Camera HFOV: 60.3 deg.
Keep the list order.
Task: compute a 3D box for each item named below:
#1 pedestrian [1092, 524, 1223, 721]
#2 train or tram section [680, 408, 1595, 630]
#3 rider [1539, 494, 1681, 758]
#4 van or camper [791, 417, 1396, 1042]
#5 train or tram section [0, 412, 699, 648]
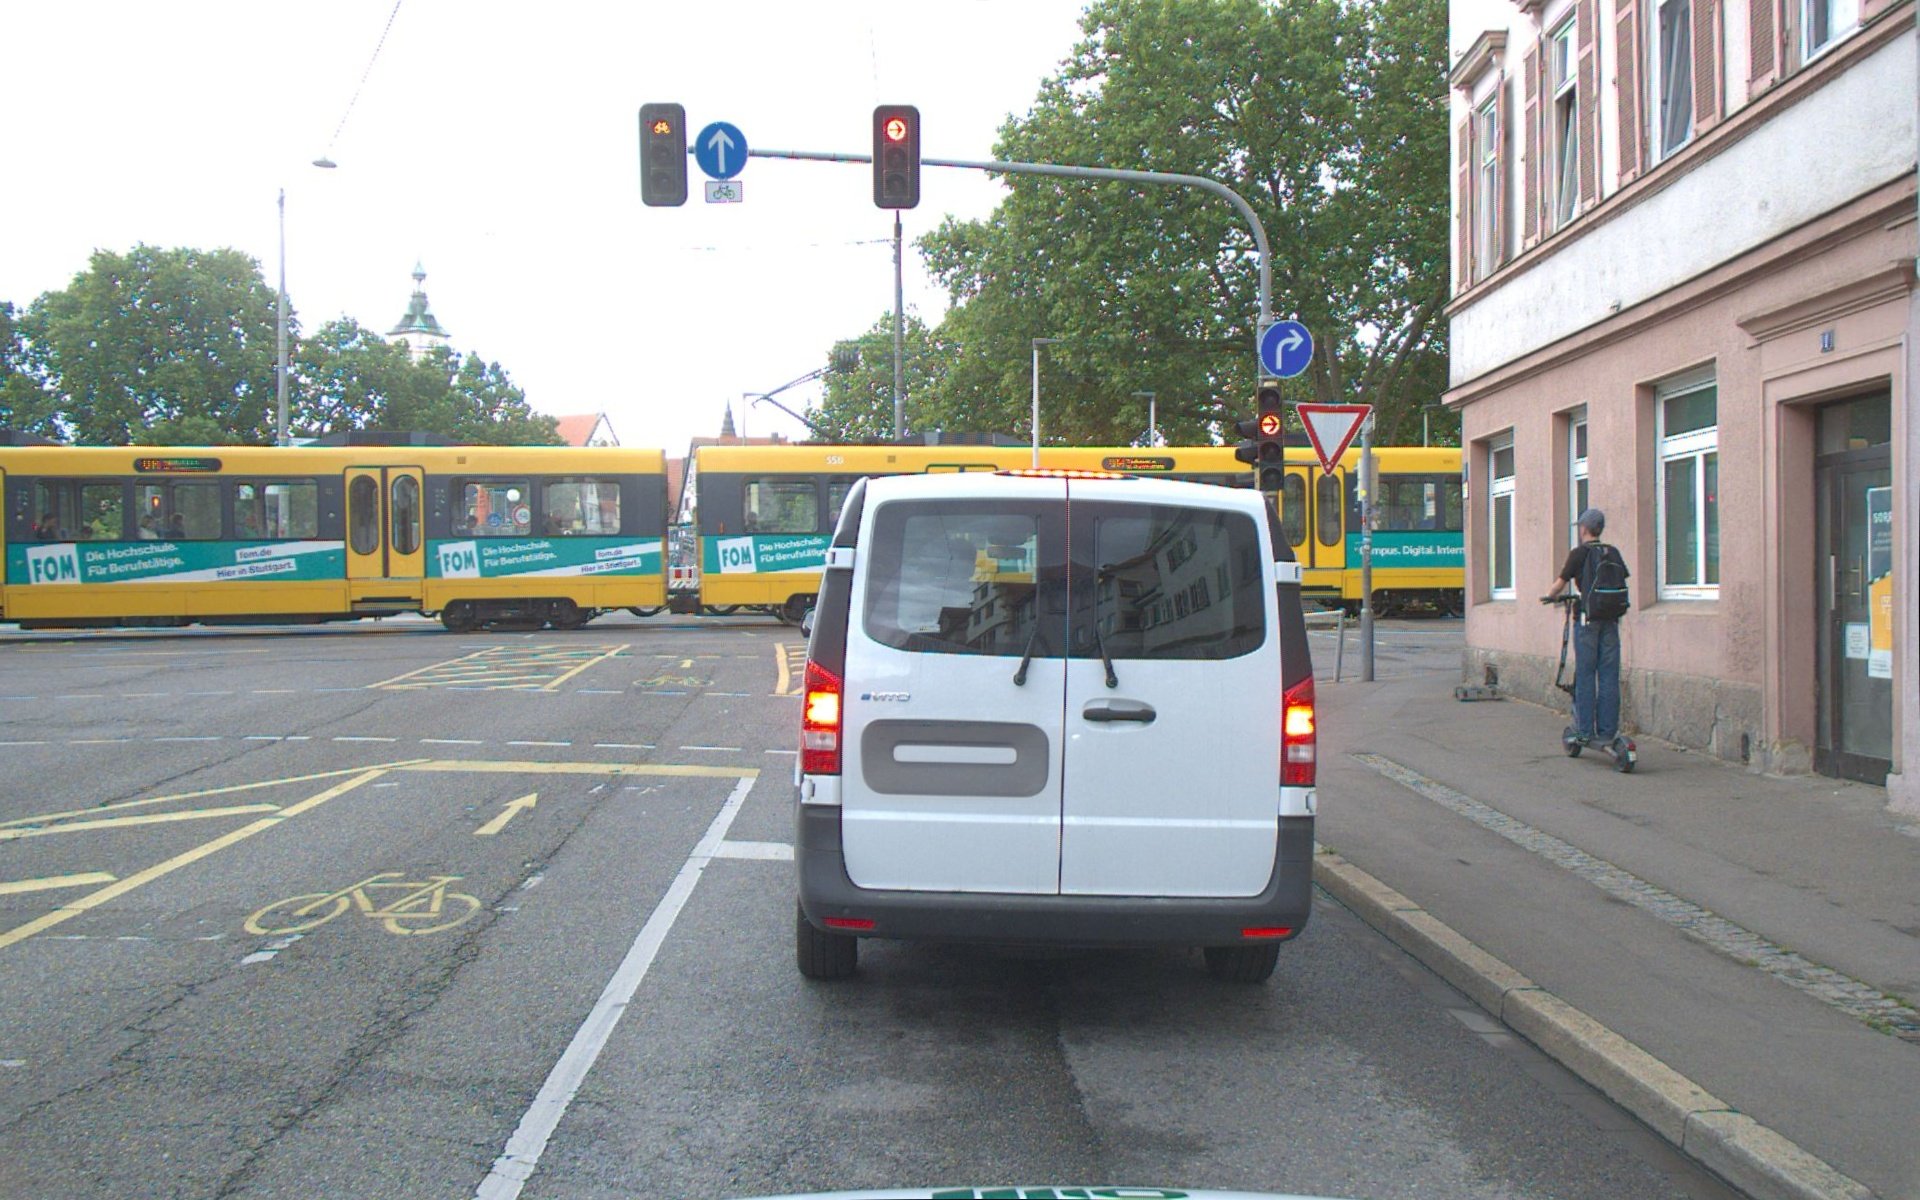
[{"bbox_3d":[1.983,0.200,16.541,1.142,1.888,0.669,-2,1,-40],"label":"pedestrian"},{"bbox_3d":[3.666,-1.756,34.295,18.413,4.072,3.261,-1,3,-7],"label":"train or tram section"},{"bbox_3d":[4.812,0.185,12.285,0.703,1.880,0.797,-1,0,-1],"label":"rider"},{"bbox_3d":[0.317,0.388,7.465,1.899,1.958,4.438,1,1,-3],"label":"van or camper"},{"bbox_3d":[-14.587,-1.353,31.257,18.886,4.072,3.300,-2,3,-12],"label":"train or tram section"}]
